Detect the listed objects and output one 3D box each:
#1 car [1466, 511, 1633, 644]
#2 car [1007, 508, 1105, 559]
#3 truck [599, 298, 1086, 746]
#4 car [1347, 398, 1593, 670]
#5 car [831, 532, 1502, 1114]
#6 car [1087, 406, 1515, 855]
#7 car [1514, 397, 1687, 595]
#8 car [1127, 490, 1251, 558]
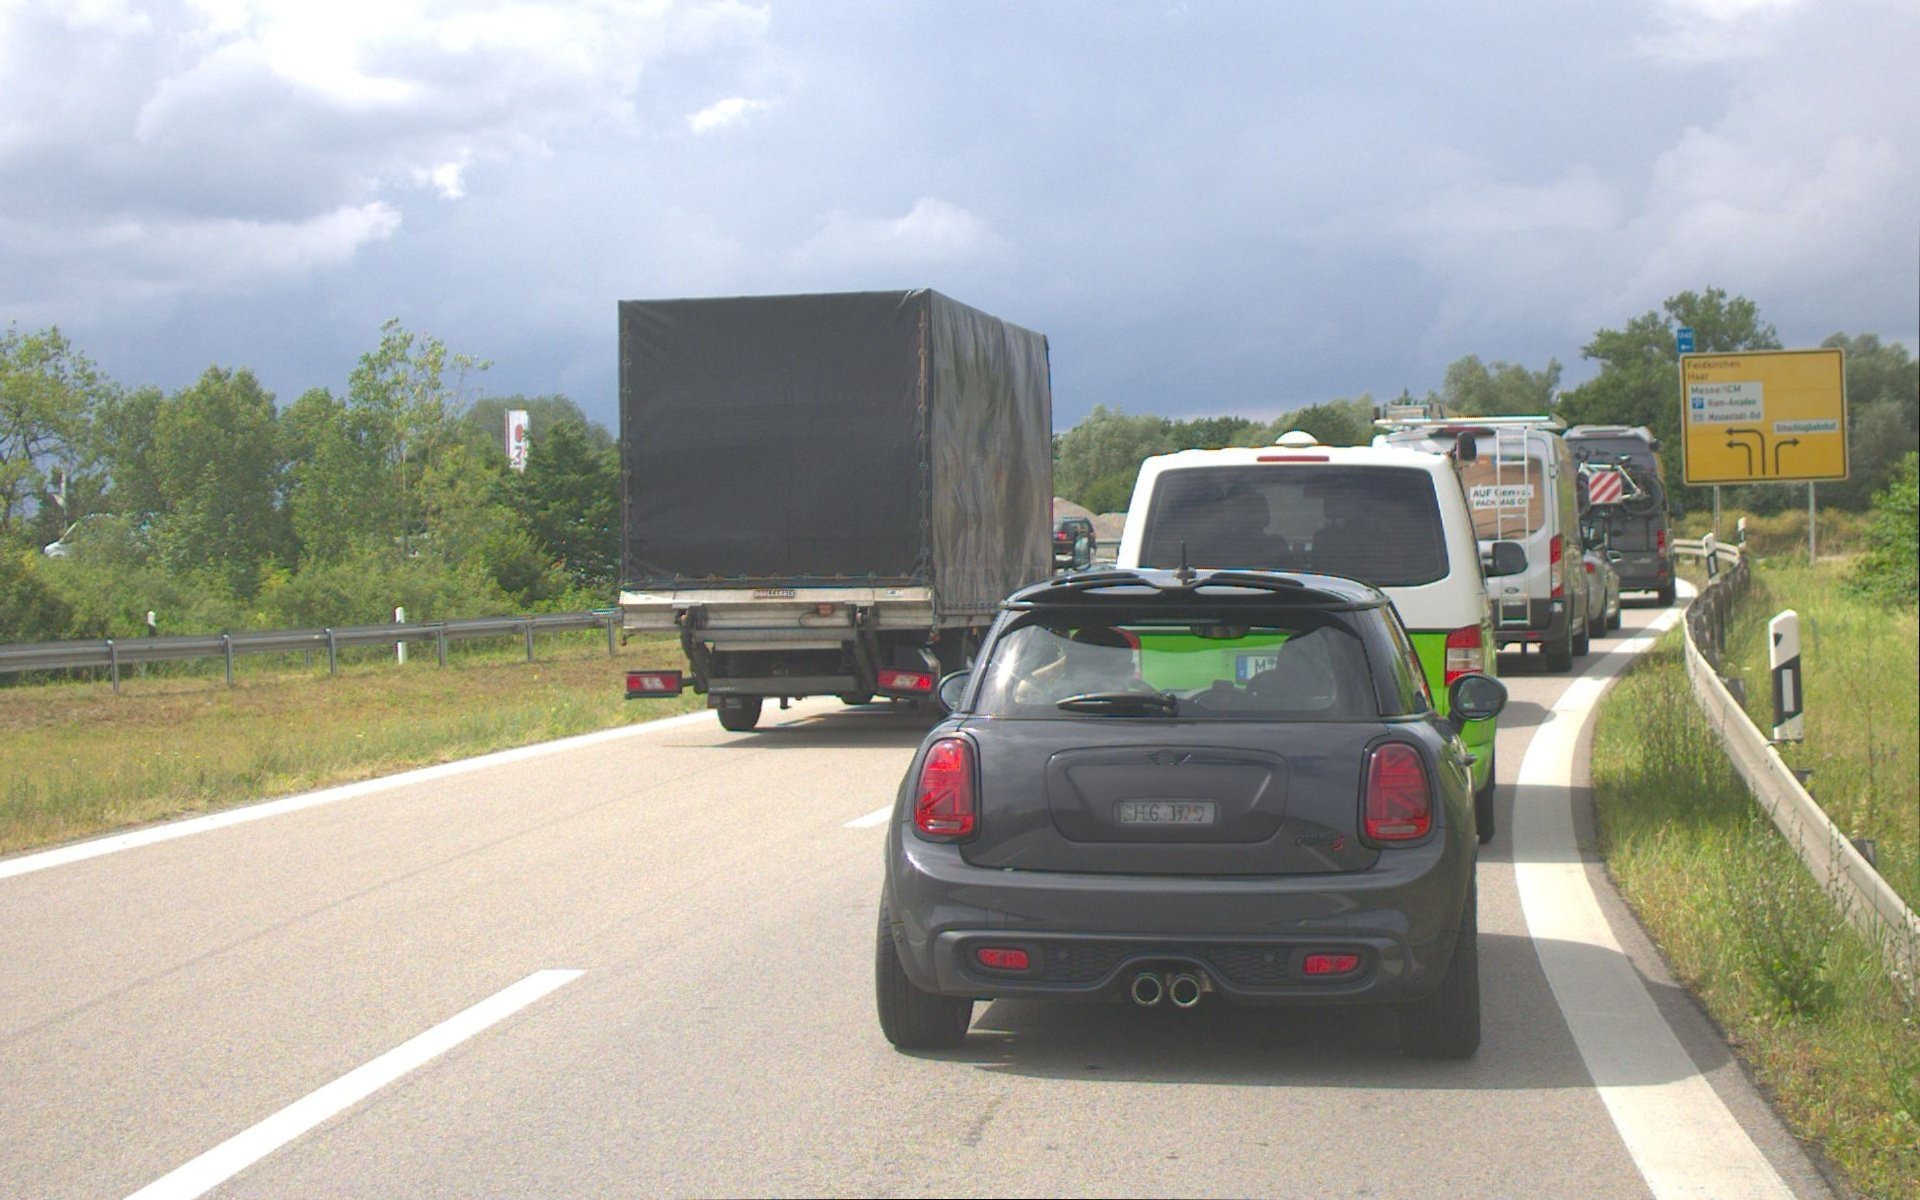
[{"bbox_3d":[7.748,-0.294,44.933,1.994,1.636,3.926,1,0,12],"label":"car"},{"bbox_3d":[3.527,-2.434,127.076,1.921,1.831,4.318,1,0,-24],"label":"car"},{"bbox_3d":[-0.714,-0.583,28.131,2.561,3.157,7.465,1,0,9],"label":"truck"},{"bbox_3d":[5.430,-0.654,36.014,2.213,2.613,5.531,1,0,12],"label":"car"},{"bbox_3d":[0.793,0.559,11.104,1.800,1.541,3.737,0,1,8],"label":"car"},{"bbox_3d":[1.888,0.112,17.848,1.912,2.038,4.179,0,1,10],"label":"car"},{"bbox_3d":[10.667,-1.638,56.857,2.312,3.058,6.657,1,0,15],"label":"car"},{"bbox_3d":[7.906,-2.604,119.256,2.289,2.252,5.109,1,0,-22],"label":"car"}]
